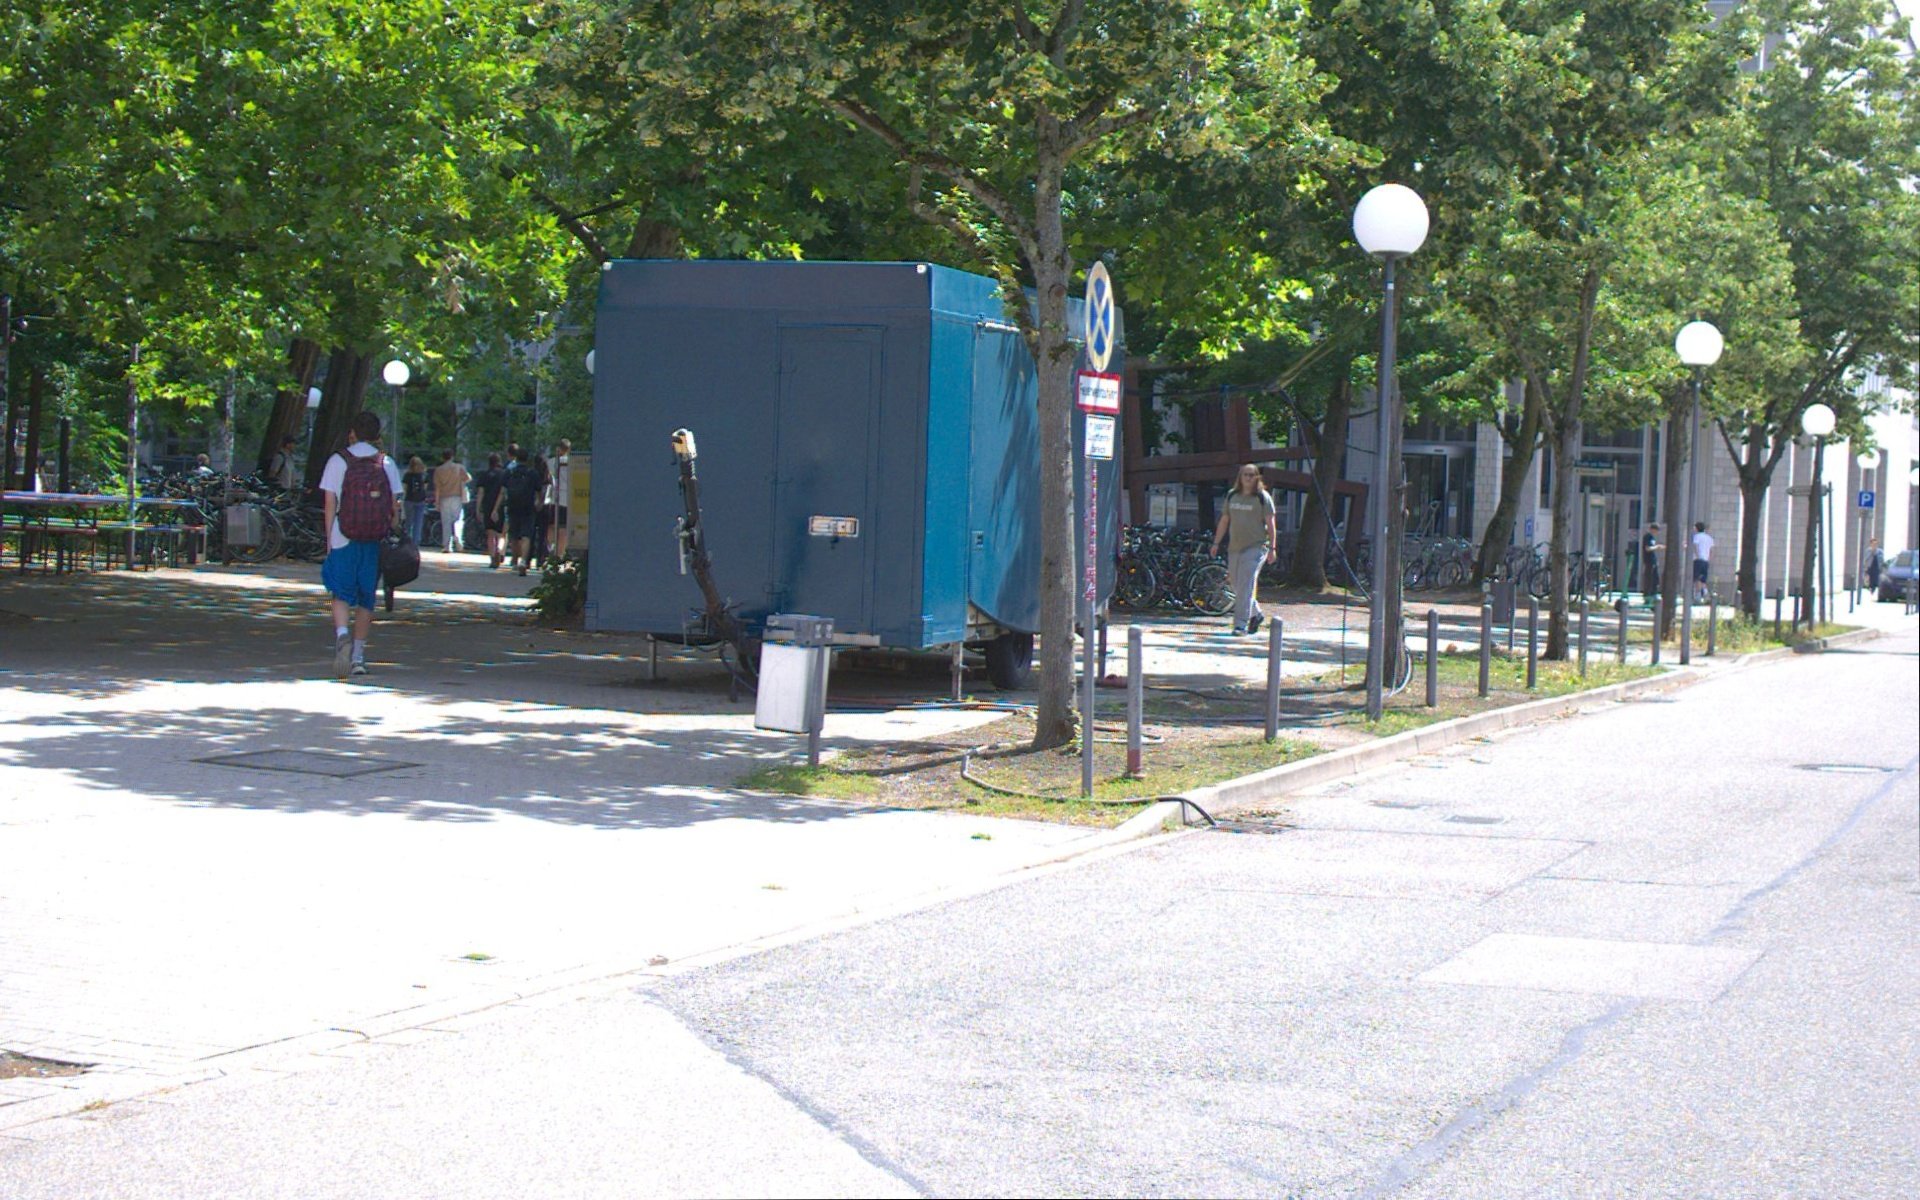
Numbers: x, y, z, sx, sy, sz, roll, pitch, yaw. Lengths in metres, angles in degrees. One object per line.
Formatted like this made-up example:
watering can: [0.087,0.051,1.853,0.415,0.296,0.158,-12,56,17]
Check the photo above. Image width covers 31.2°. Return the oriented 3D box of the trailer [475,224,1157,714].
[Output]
trailer: [-0.806,-0.920,25.116,2.699,3.016,6.260,4,2,19]

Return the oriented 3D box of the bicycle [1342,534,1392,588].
bicycle: [8.568,-0.817,72.274,0.552,1.082,1.971,5,2,19]

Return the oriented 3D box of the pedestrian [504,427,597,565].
pedestrian: [-6.044,-1.531,50.716,0.918,1.941,0.892,3,2,-33]

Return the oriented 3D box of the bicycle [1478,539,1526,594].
bicycle: [11.265,-0.694,71.419,0.552,1.082,1.971,5,2,19]

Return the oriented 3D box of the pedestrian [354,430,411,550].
pedestrian: [-8.228,-1.574,48.974,0.630,1.664,0.730,3,2,-2]

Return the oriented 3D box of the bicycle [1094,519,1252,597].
bicycle: [3.086,-0.607,49.863,2.146,1.005,0.678,3,2,-10]

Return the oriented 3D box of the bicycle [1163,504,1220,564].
bicycle: [4.930,-1.404,73.073,0.526,1.248,2.379,2,2,20]

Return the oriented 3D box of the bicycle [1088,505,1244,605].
bicycle: [2.825,-0.625,47.247,2.054,1.230,0.809,3,2,2]

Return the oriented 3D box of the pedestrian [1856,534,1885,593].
pedestrian: [26.972,-1.080,101.822,0.650,1.695,0.889,4,2,9]

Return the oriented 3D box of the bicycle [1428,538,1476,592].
bicycle: [10.316,-0.736,72.076,0.552,1.082,1.971,5,2,19]

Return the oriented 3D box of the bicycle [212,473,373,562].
bicycle: [-8.943,-1.112,46.077,2.009,1.115,0.584,2,2,11]

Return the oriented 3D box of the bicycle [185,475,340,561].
bicycle: [-9.700,-1.140,47.803,2.009,1.115,0.584,2,2,11]

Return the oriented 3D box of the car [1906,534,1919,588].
car: [26.925,-1.006,93.669,1.768,1.422,4.230,3,1,21]

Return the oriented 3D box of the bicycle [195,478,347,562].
bicycle: [-9.751,-1.137,48.635,2.009,1.115,0.584,2,2,11]

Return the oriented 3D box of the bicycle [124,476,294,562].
bicycle: [-9.519,-1.032,43.574,2.009,1.004,0.584,2,2,11]

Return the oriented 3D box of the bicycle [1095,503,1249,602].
bicycle: [2.970,-0.674,48.285,2.054,1.230,0.809,4,2,2]

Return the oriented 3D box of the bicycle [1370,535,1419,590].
bicycle: [9.122,-0.792,72.145,0.552,1.082,1.971,5,2,19]

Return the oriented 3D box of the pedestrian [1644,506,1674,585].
pedestrian: [15.949,-1.245,78.437,0.441,1.769,0.451,2,2,-11]

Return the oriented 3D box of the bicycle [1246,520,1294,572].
bicycle: [6.357,-1.094,70.344,0.476,1.029,1.848,3,2,20]

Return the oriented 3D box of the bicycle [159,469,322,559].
bicycle: [-9.503,-1.137,45.405,2.009,1.115,0.584,2,2,11]

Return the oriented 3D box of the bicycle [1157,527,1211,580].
bicycle: [4.804,-0.989,73.621,0.552,1.082,1.971,5,2,19]

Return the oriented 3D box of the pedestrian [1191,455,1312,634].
pedestrian: [3.312,-0.628,39.026,0.919,1.947,0.890,6,2,29]

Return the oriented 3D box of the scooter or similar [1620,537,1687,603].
scooter or similar: [13.002,-0.557,64.465,1.324,1.171,0.340,2,2,-35]

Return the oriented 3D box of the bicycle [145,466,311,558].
bicycle: [-9.487,-1.139,44.557,2.009,1.115,0.584,2,2,11]

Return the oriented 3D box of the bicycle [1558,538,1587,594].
bicycle: [11.482,-0.645,64.471,0.382,1.022,1.815,3,2,7]

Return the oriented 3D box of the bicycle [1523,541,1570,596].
bicycle: [12.097,-0.656,70.914,0.552,1.082,1.971,5,2,19]

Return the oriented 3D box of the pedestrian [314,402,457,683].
pedestrian: [-3.915,-0.404,23.379,0.851,1.829,0.879,3,4,-11]

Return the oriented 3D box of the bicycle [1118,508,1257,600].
bicycle: [3.016,-0.616,45.694,1.773,1.128,0.459,3,2,2]

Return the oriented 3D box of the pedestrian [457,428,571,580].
pedestrian: [-6.043,-1.299,46.588,1.121,1.941,0.892,3,2,-33]

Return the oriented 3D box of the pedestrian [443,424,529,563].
pedestrian: [-6.923,-1.552,50.226,0.820,1.941,0.852,3,2,-33]

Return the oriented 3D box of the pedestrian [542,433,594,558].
pedestrian: [-6.039,-1.616,52.969,0.588,1.897,0.517,1,2,-27]

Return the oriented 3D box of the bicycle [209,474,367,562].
bicycle: [-9.171,-1.120,46.909,2.009,1.115,0.584,2,2,11]

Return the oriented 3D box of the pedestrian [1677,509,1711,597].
pedestrian: [16.462,-1.057,77.096,0.412,1.935,0.663,3,2,-10]

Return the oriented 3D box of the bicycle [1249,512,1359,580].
bicycle: [6.700,-1.051,66.944,2.013,1.249,0.588,1,2,-13]
